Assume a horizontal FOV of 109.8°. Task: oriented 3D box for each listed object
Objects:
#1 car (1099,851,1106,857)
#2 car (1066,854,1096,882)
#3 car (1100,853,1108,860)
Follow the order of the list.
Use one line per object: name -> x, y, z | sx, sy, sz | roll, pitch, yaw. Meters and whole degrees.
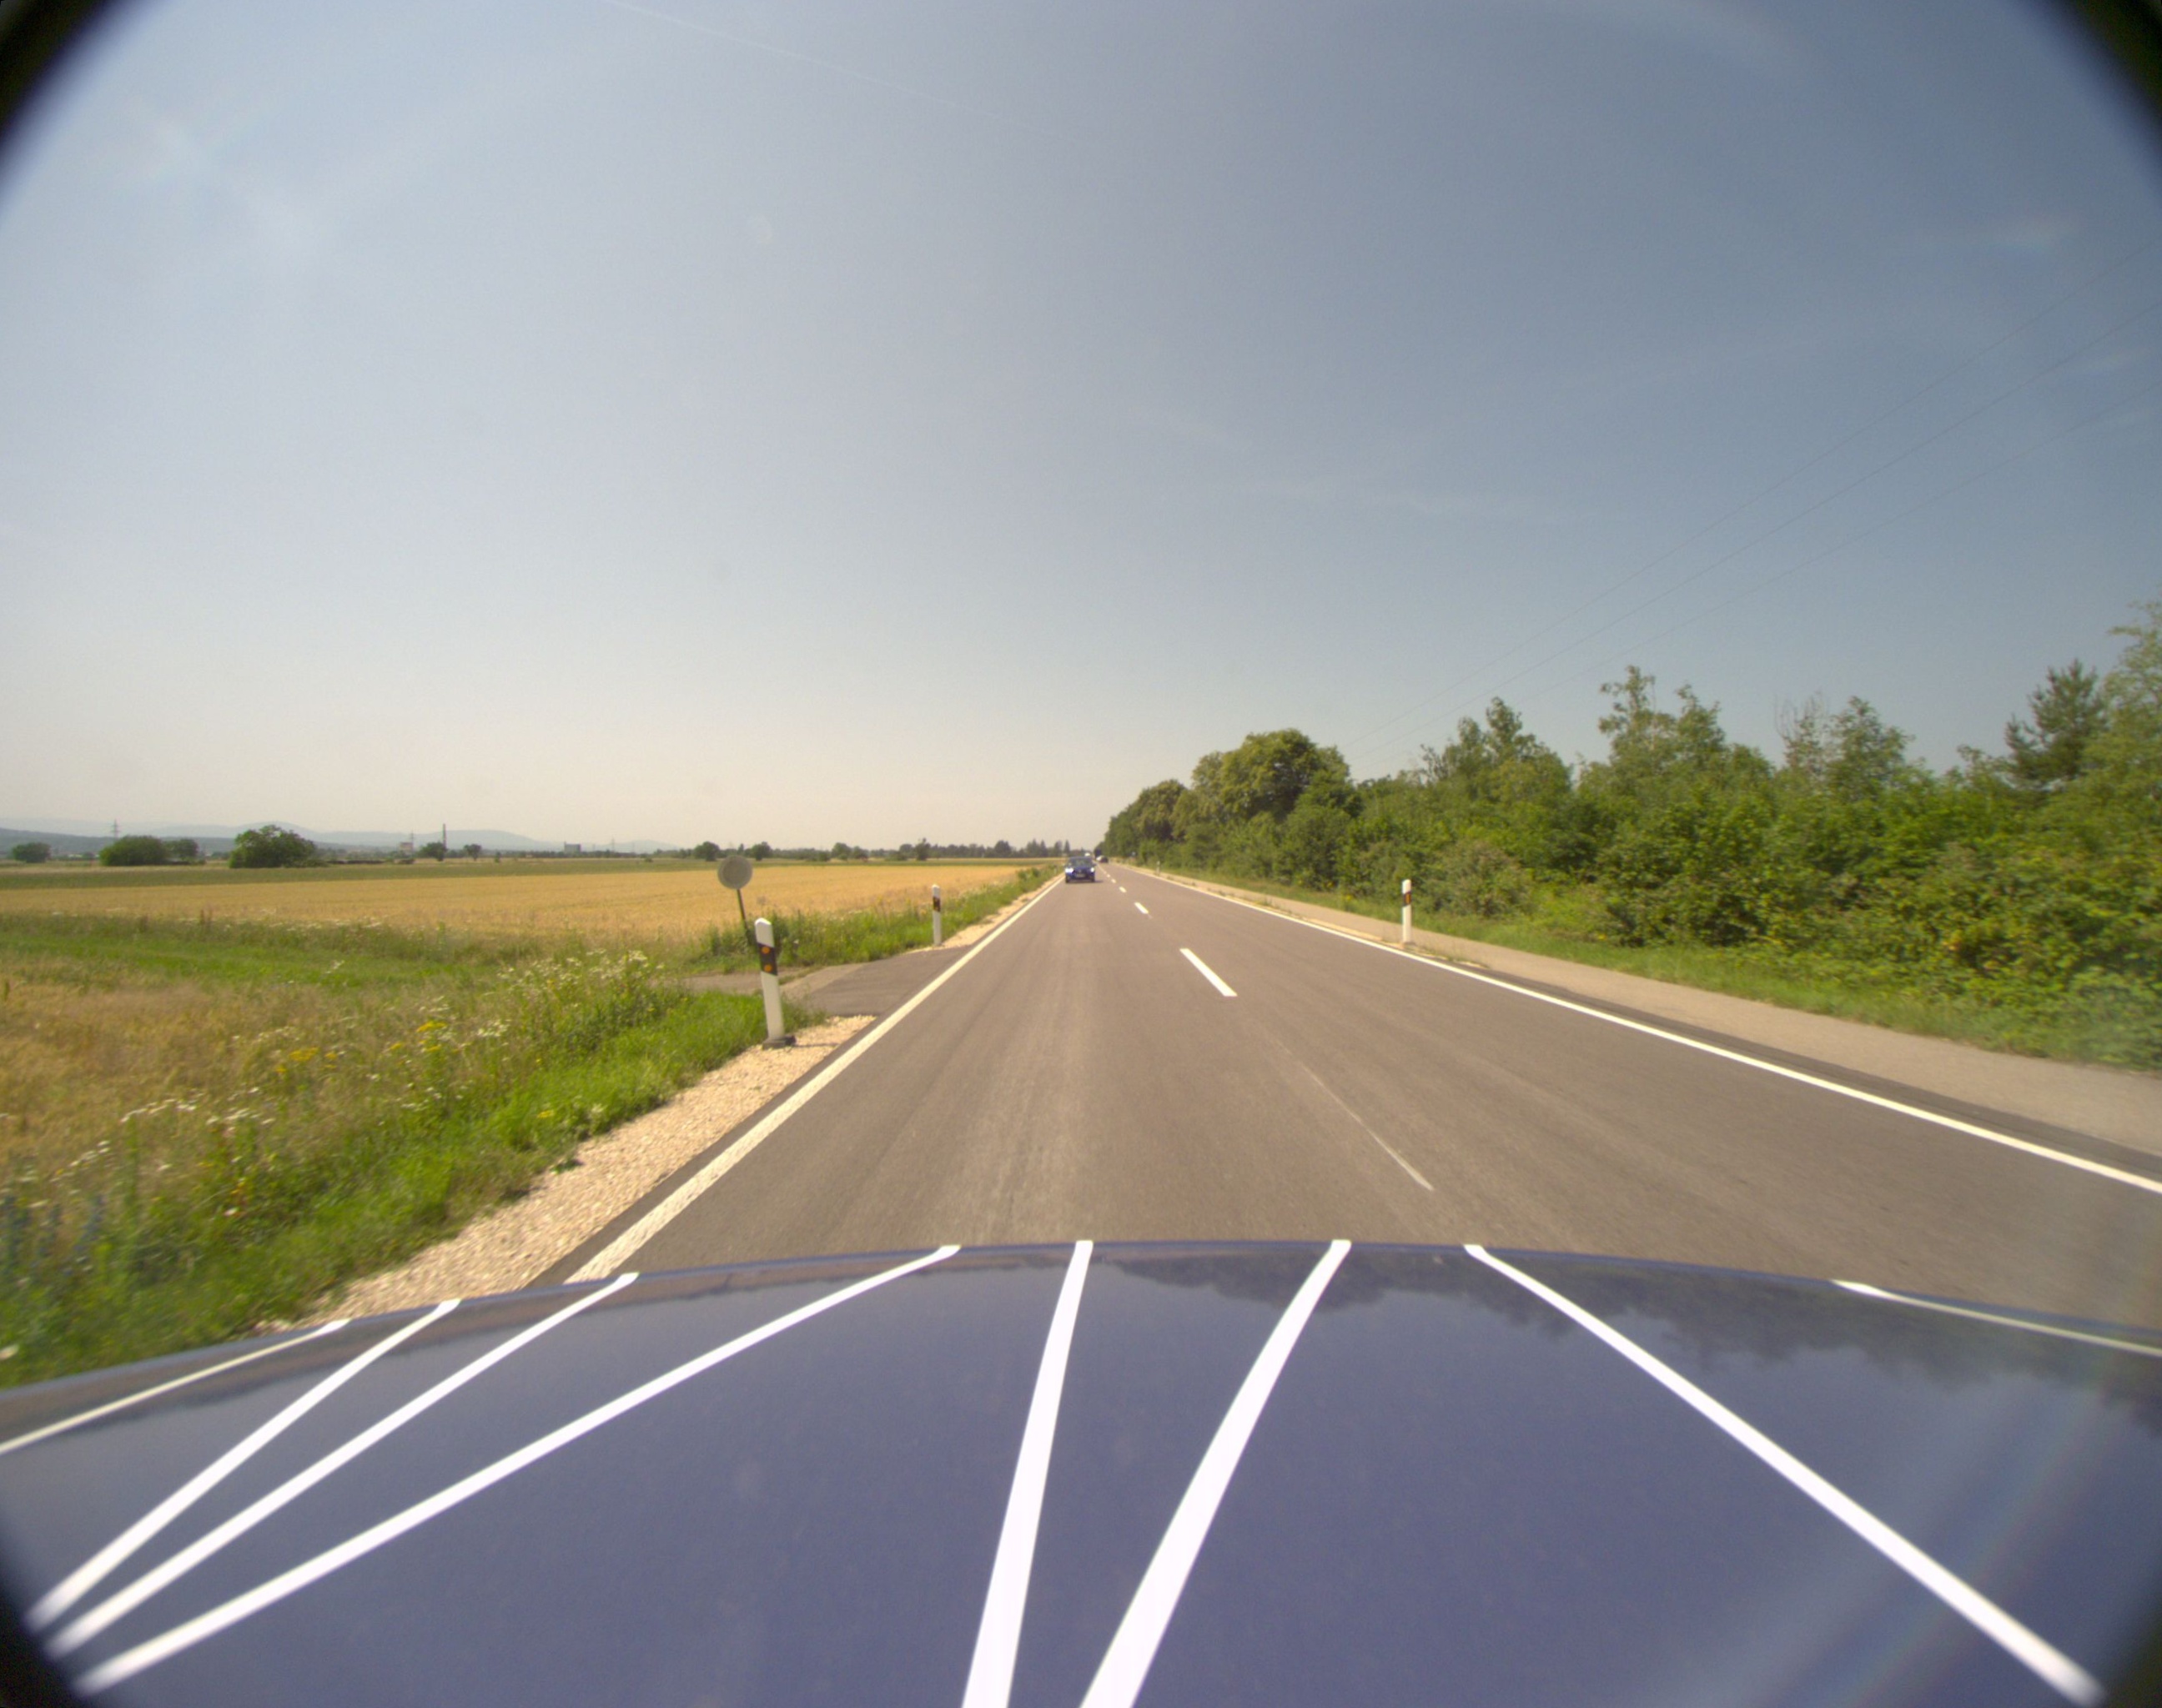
car -> 5.576, 0.108, 197.438 | 1.662, 1.508, 4.000 | 0, 0, 1
car -> 0.028, 0.822, 45.263 | 1.662, 1.509, 3.999 | -2, 0, 0
car -> 5.049, 0.617, 165.903 | 1.661, 1.508, 4.000 | 0, 0, 2
